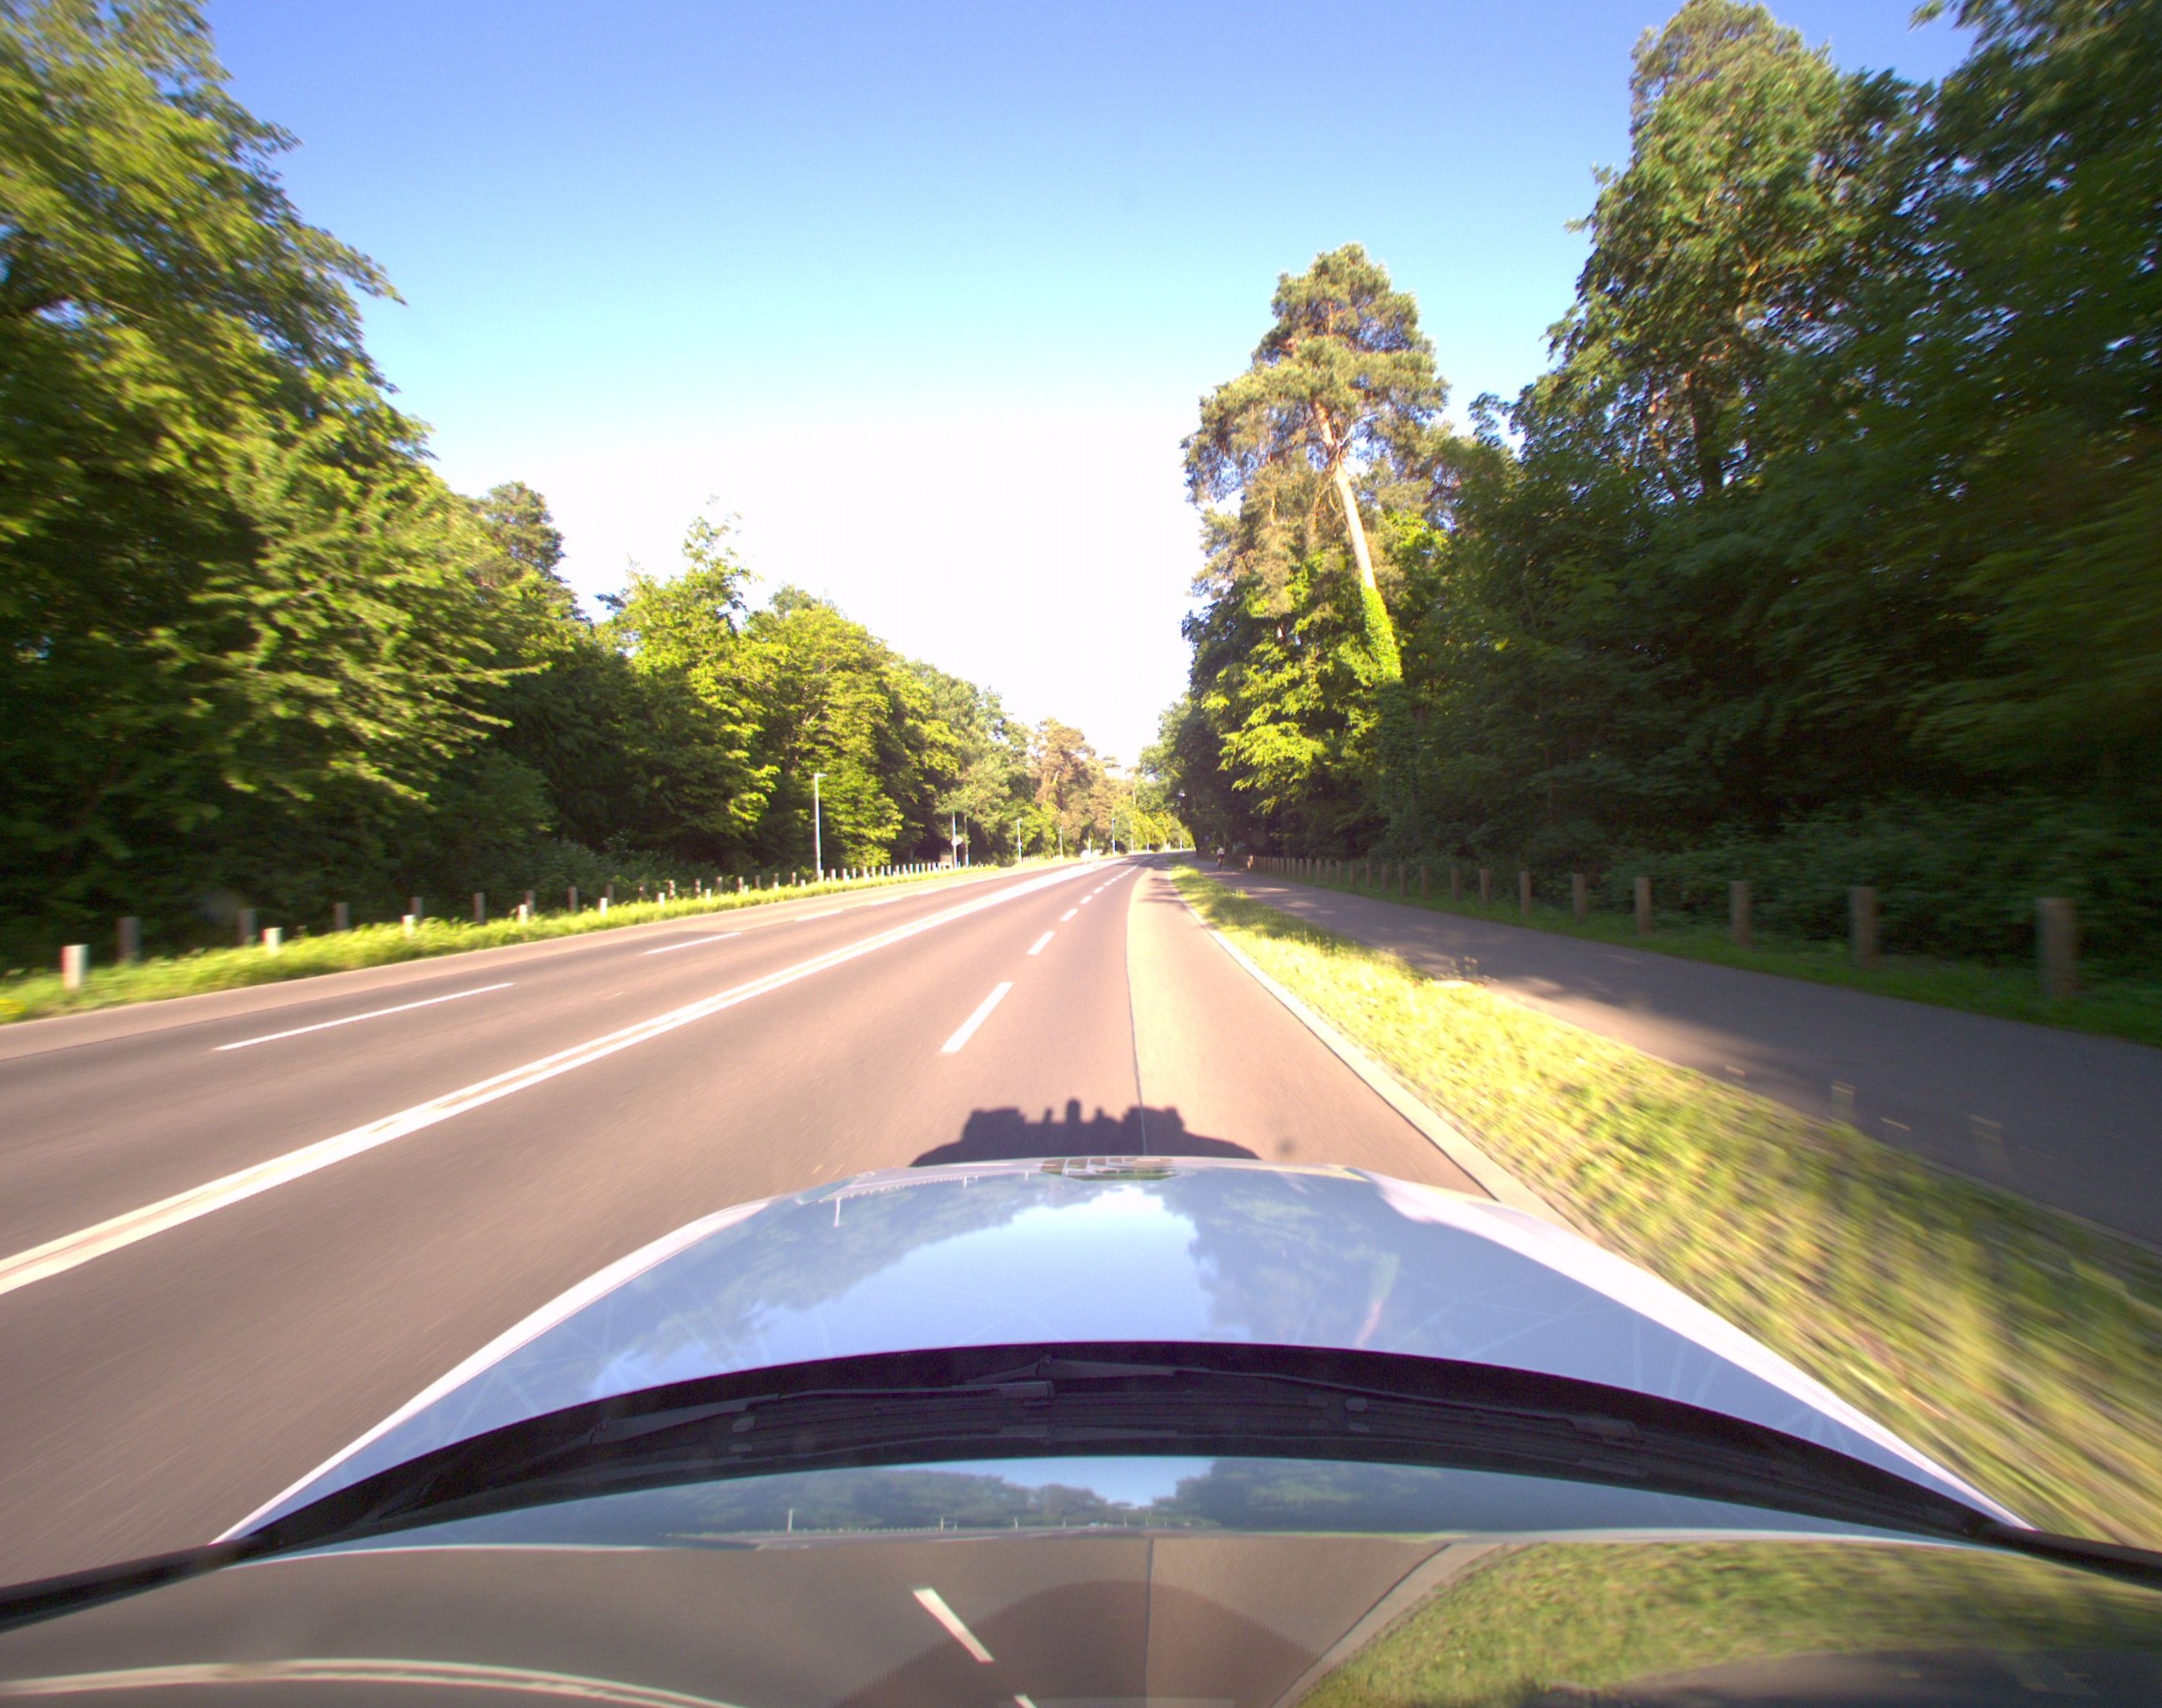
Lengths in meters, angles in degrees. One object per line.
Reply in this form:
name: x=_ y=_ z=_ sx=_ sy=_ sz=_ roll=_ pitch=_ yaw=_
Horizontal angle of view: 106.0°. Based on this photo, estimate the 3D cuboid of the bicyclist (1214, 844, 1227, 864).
bicyclist: x=9.022 y=-0.010 z=52.692 sx=0.708 sy=1.289 sz=1.106 roll=-1 pitch=-1 yaw=6

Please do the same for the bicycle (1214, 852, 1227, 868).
bicycle: x=9.025 y=0.386 z=52.692 sx=0.708 sy=1.056 sz=2.056 roll=-1 pitch=0 yaw=6
